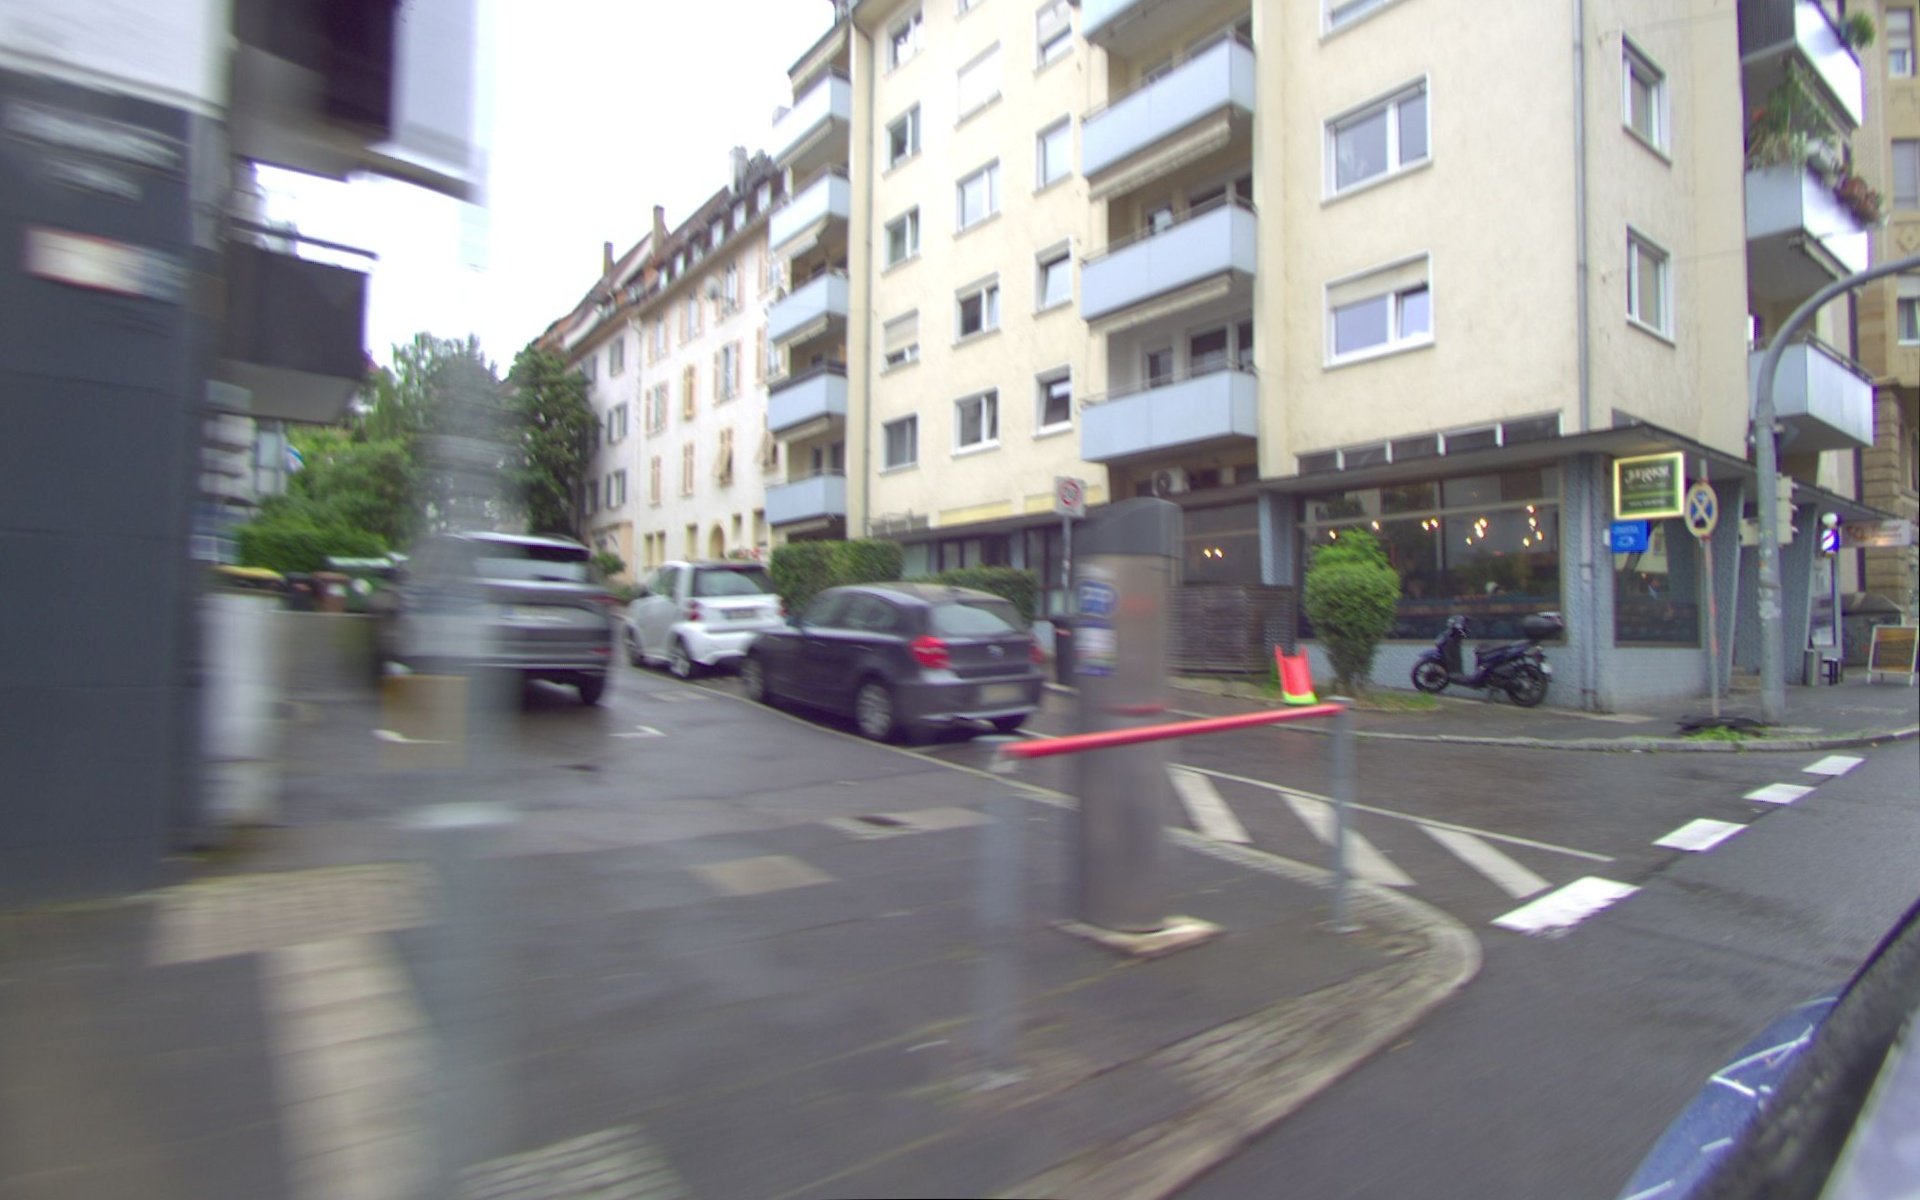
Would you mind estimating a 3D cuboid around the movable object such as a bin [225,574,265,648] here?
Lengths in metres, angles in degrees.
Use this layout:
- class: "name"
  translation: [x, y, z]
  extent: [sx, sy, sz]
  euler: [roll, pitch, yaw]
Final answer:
- class: "movable object such as a bin"
  translation: [-15.257, 0.230, 21.598]
  extent: [0.620, 1.546, 0.737]
  euler: [0, -1, -41]

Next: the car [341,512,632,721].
- class: "car"
  translation: [-4.995, 0.117, 10.366]
  extent: [1.708, 1.712, 3.996]
  euler: [3, -1, -39]

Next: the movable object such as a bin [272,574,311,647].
- class: "movable object such as a bin"
  translation: [-14.506, 0.233, 21.959]
  extent: [0.620, 1.546, 0.737]
  euler: [0, -1, -41]

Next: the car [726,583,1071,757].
- class: "car"
  translation: [-0.834, 0.546, 10.567]
  extent: [1.728, 1.432, 3.999]
  euler: [-1, 1, -36]

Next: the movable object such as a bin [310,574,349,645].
- class: "movable object such as a bin"
  translation: [-14.040, 0.213, 22.526]
  extent: [0.620, 1.546, 0.737]
  euler: [0, -1, -41]

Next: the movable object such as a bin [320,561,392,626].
- class: "movable object such as a bin"
  translation: [-14.151, -0.160, 23.705]
  extent: [1.329, 1.484, 1.065]
  euler: [0, 1, -39]

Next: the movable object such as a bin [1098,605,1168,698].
- class: "movable object such as a bin"
  translation: [2.354, 0.681, 13.769]
  extent: [0.721, 1.195, 0.600]
  euler: [-2, 0, -41]

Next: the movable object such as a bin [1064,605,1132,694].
- class: "movable object such as a bin"
  translation: [1.946, 0.676, 14.241]
  extent: [0.723, 1.188, 0.594]
  euler: [-2, 0, -41]

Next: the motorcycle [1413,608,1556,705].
- class: "motorcycle"
  translation: [7.170, 0.735, 13.906]
  extent: [0.589, 1.176, 1.649]
  euler: [-2, 3, -35]

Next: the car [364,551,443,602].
- class: "car"
  translation: [-20.005, -0.822, 36.318]
  extent: [1.963, 1.712, 4.062]
  euler: [-1, 1, -37]

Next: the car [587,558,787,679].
- class: "car"
  translation: [-4.131, 0.190, 14.895]
  extent: [1.441, 1.520, 3.998]
  euler: [-2, 2, -37]
